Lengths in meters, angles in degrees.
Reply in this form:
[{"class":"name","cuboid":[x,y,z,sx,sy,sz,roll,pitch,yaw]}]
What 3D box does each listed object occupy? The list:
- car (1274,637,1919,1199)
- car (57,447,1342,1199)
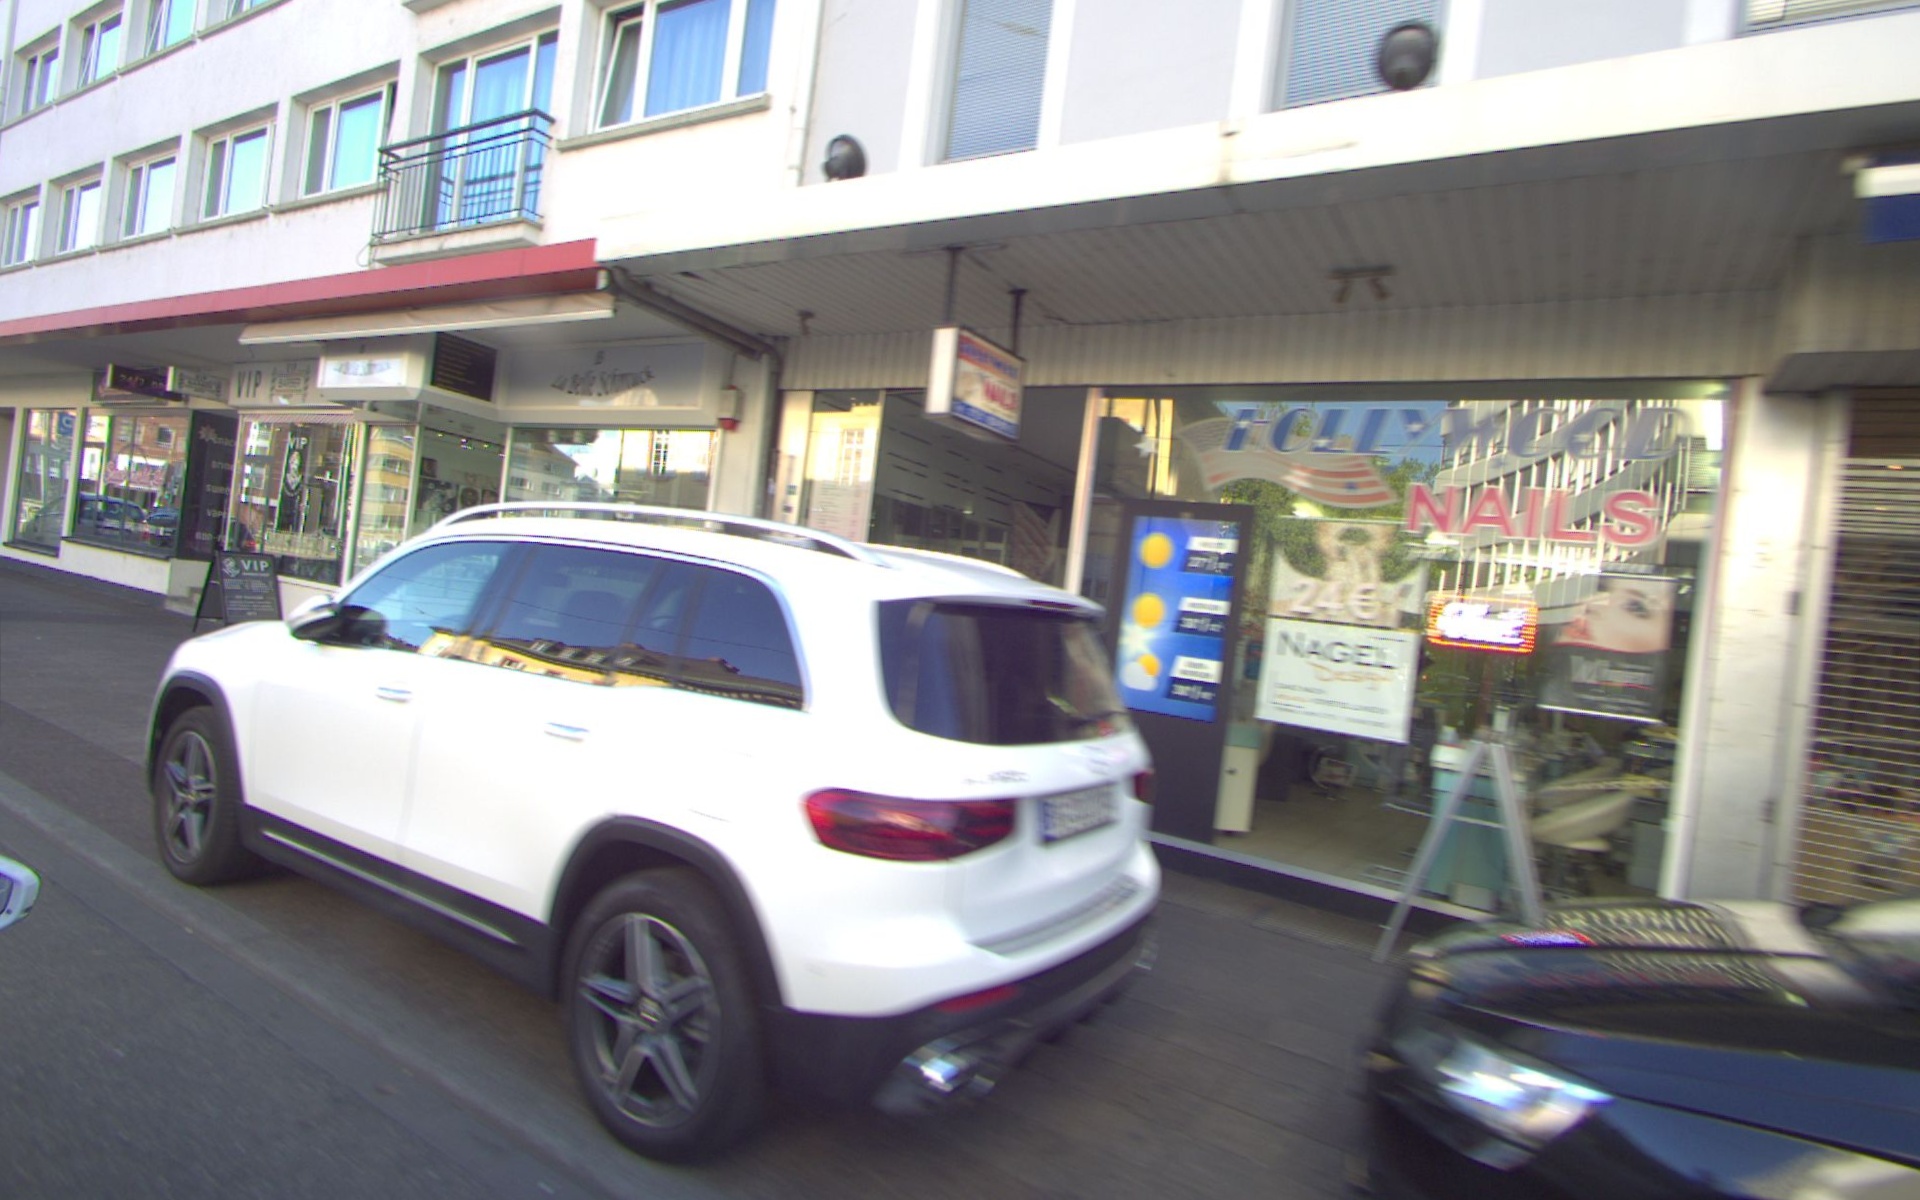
[{"class":"car","cuboid":[2.811,1.092,1.751,4.003,1.547,1.616,7,0,32]},{"class":"car","cuboid":[-1.412,0.468,4.023,5.107,1.746,1.850,7,1,32]}]
